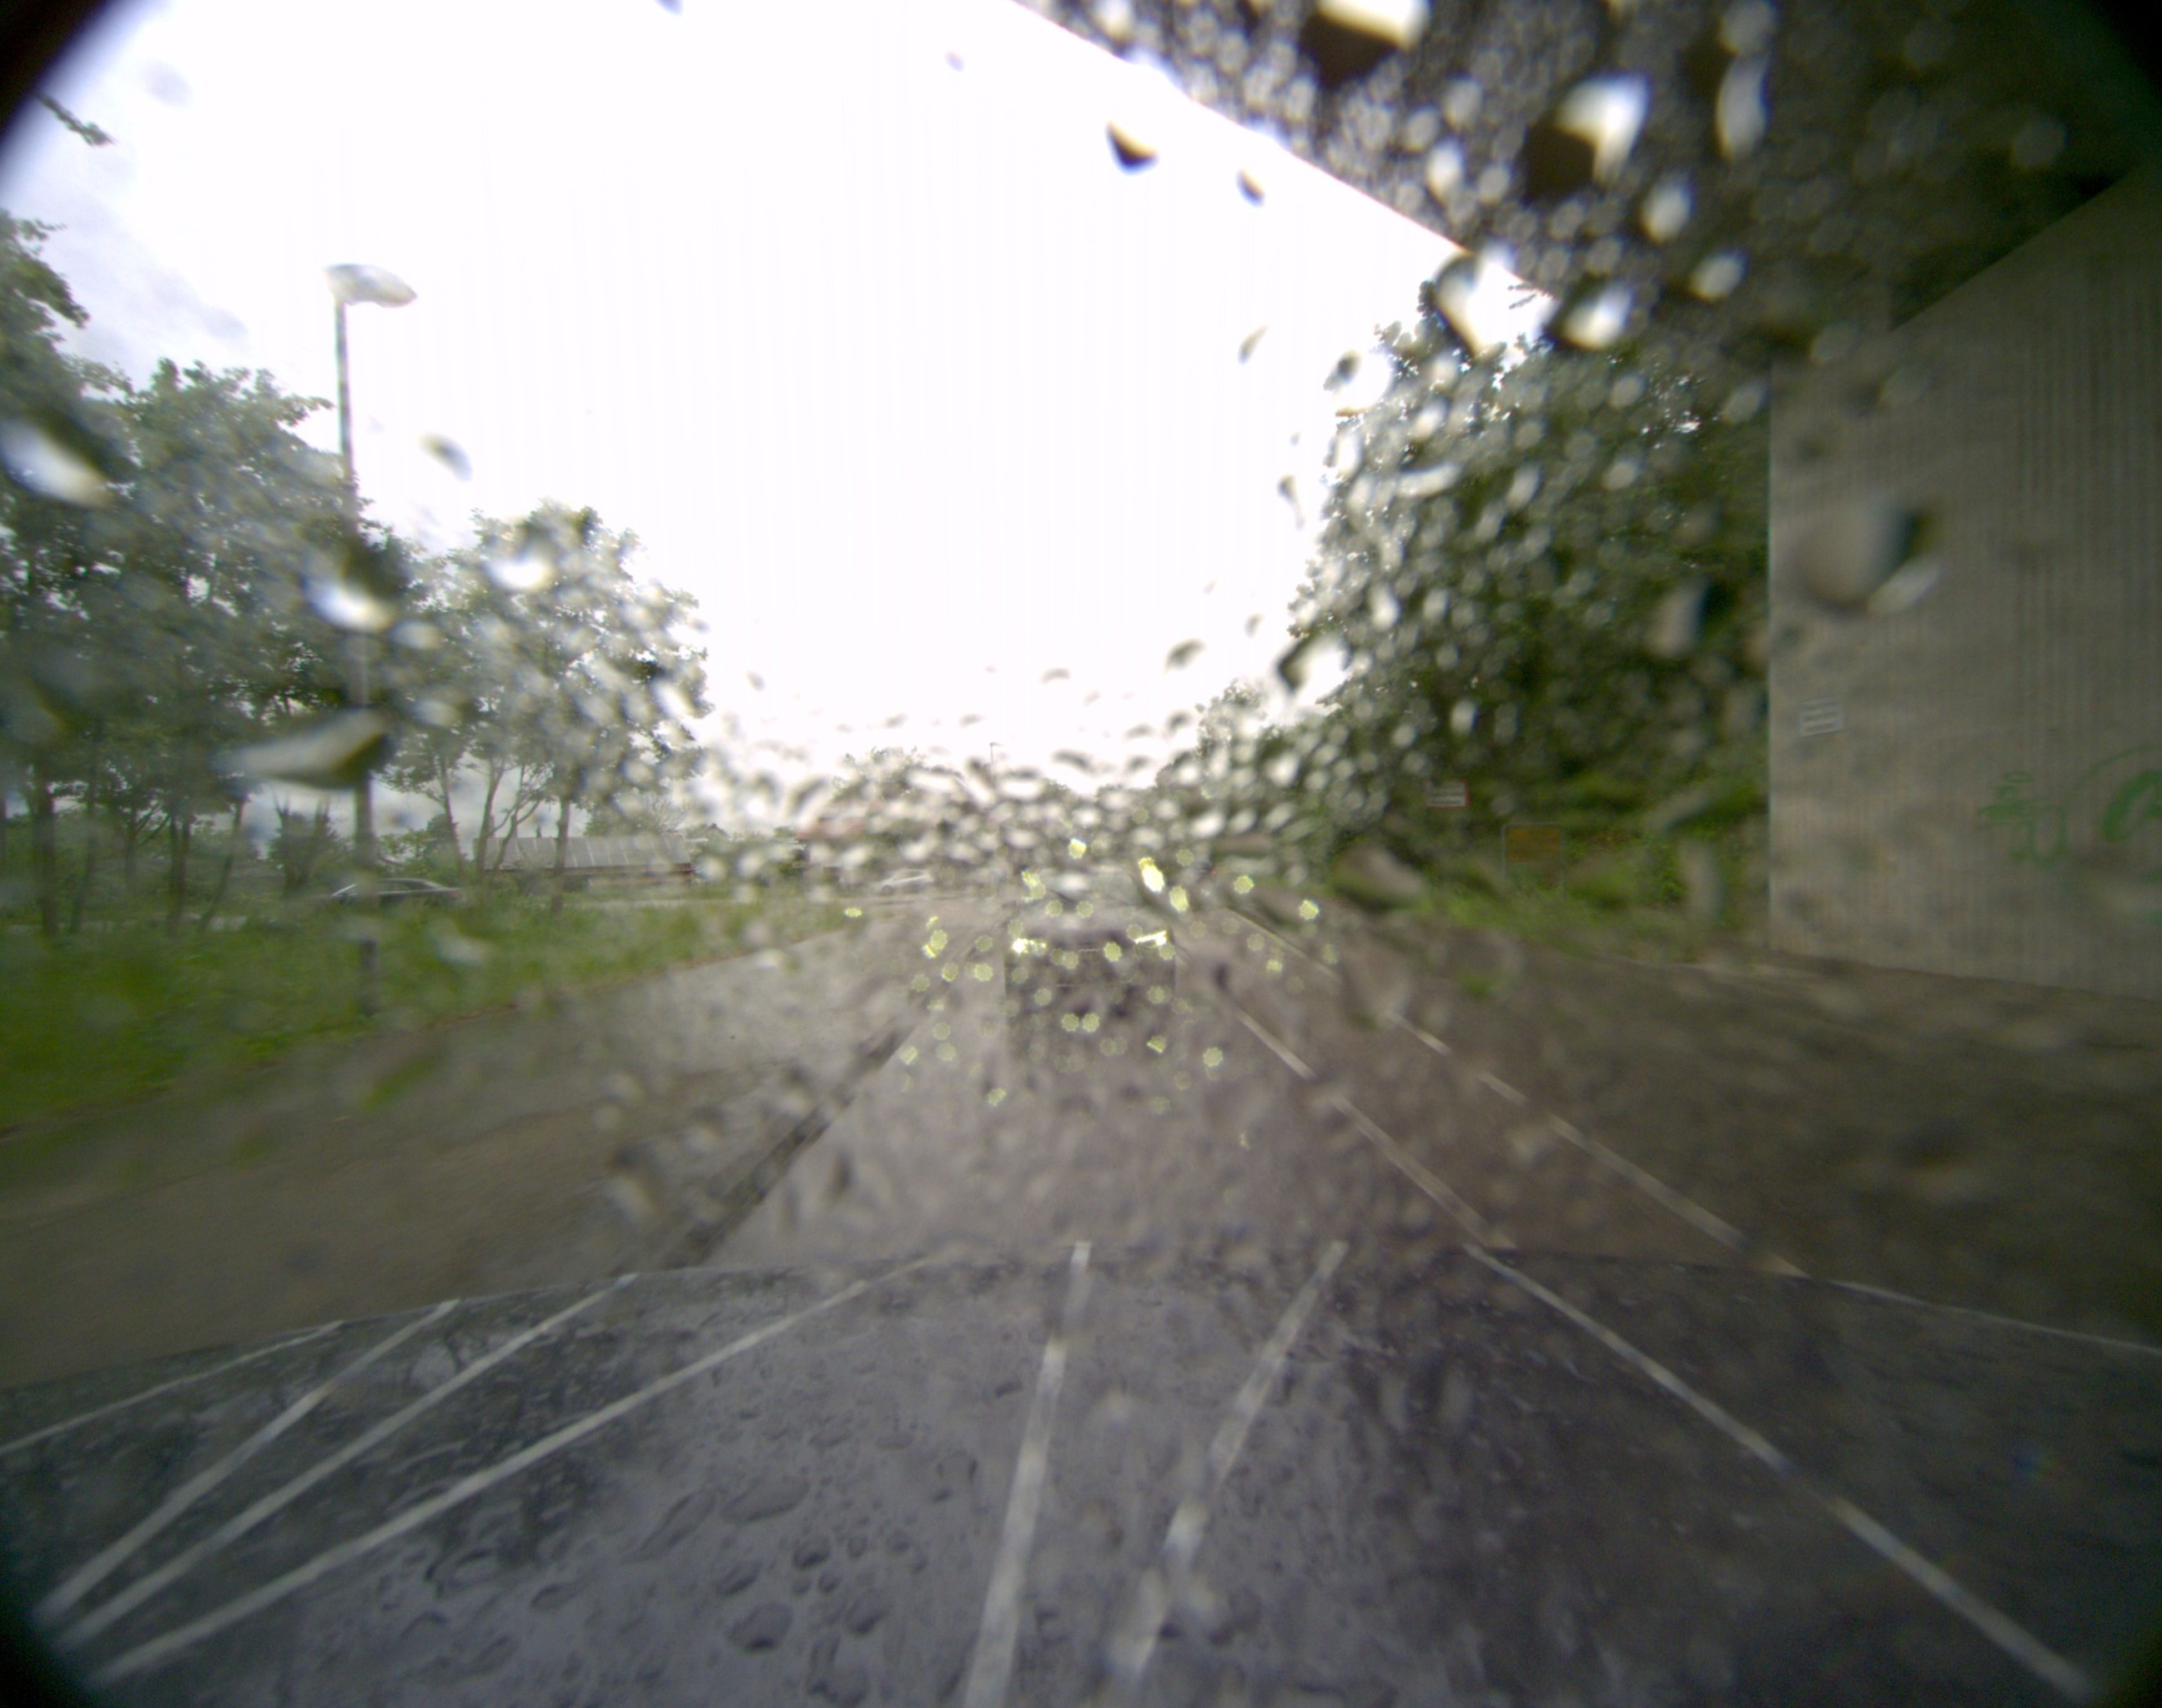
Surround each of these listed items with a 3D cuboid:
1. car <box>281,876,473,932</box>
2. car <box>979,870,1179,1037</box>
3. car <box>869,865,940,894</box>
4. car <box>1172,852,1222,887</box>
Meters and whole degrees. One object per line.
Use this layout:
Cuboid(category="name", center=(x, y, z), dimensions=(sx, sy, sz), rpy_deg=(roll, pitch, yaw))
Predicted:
Cuboid(category="car", center=(-21.971, 1.513, 23.967), dimensions=(4.117, 1.351, 1.900), rpy_deg=(-4, 1, -33))
Cuboid(category="car", center=(0.037, 0.962, 9.257), dimensions=(1.766, 1.316, 4.549), rpy_deg=(-3, 0, 1))
Cuboid(category="car", center=(-11.029, 1.554, 47.492), dimensions=(3.862, 1.523, 1.715), rpy_deg=(-4, 1, -31))
Cuboid(category="car", center=(5.456, 0.704, 36.186), dimensions=(1.695, 1.478, 4.072), rpy_deg=(-2, 0, -1))
